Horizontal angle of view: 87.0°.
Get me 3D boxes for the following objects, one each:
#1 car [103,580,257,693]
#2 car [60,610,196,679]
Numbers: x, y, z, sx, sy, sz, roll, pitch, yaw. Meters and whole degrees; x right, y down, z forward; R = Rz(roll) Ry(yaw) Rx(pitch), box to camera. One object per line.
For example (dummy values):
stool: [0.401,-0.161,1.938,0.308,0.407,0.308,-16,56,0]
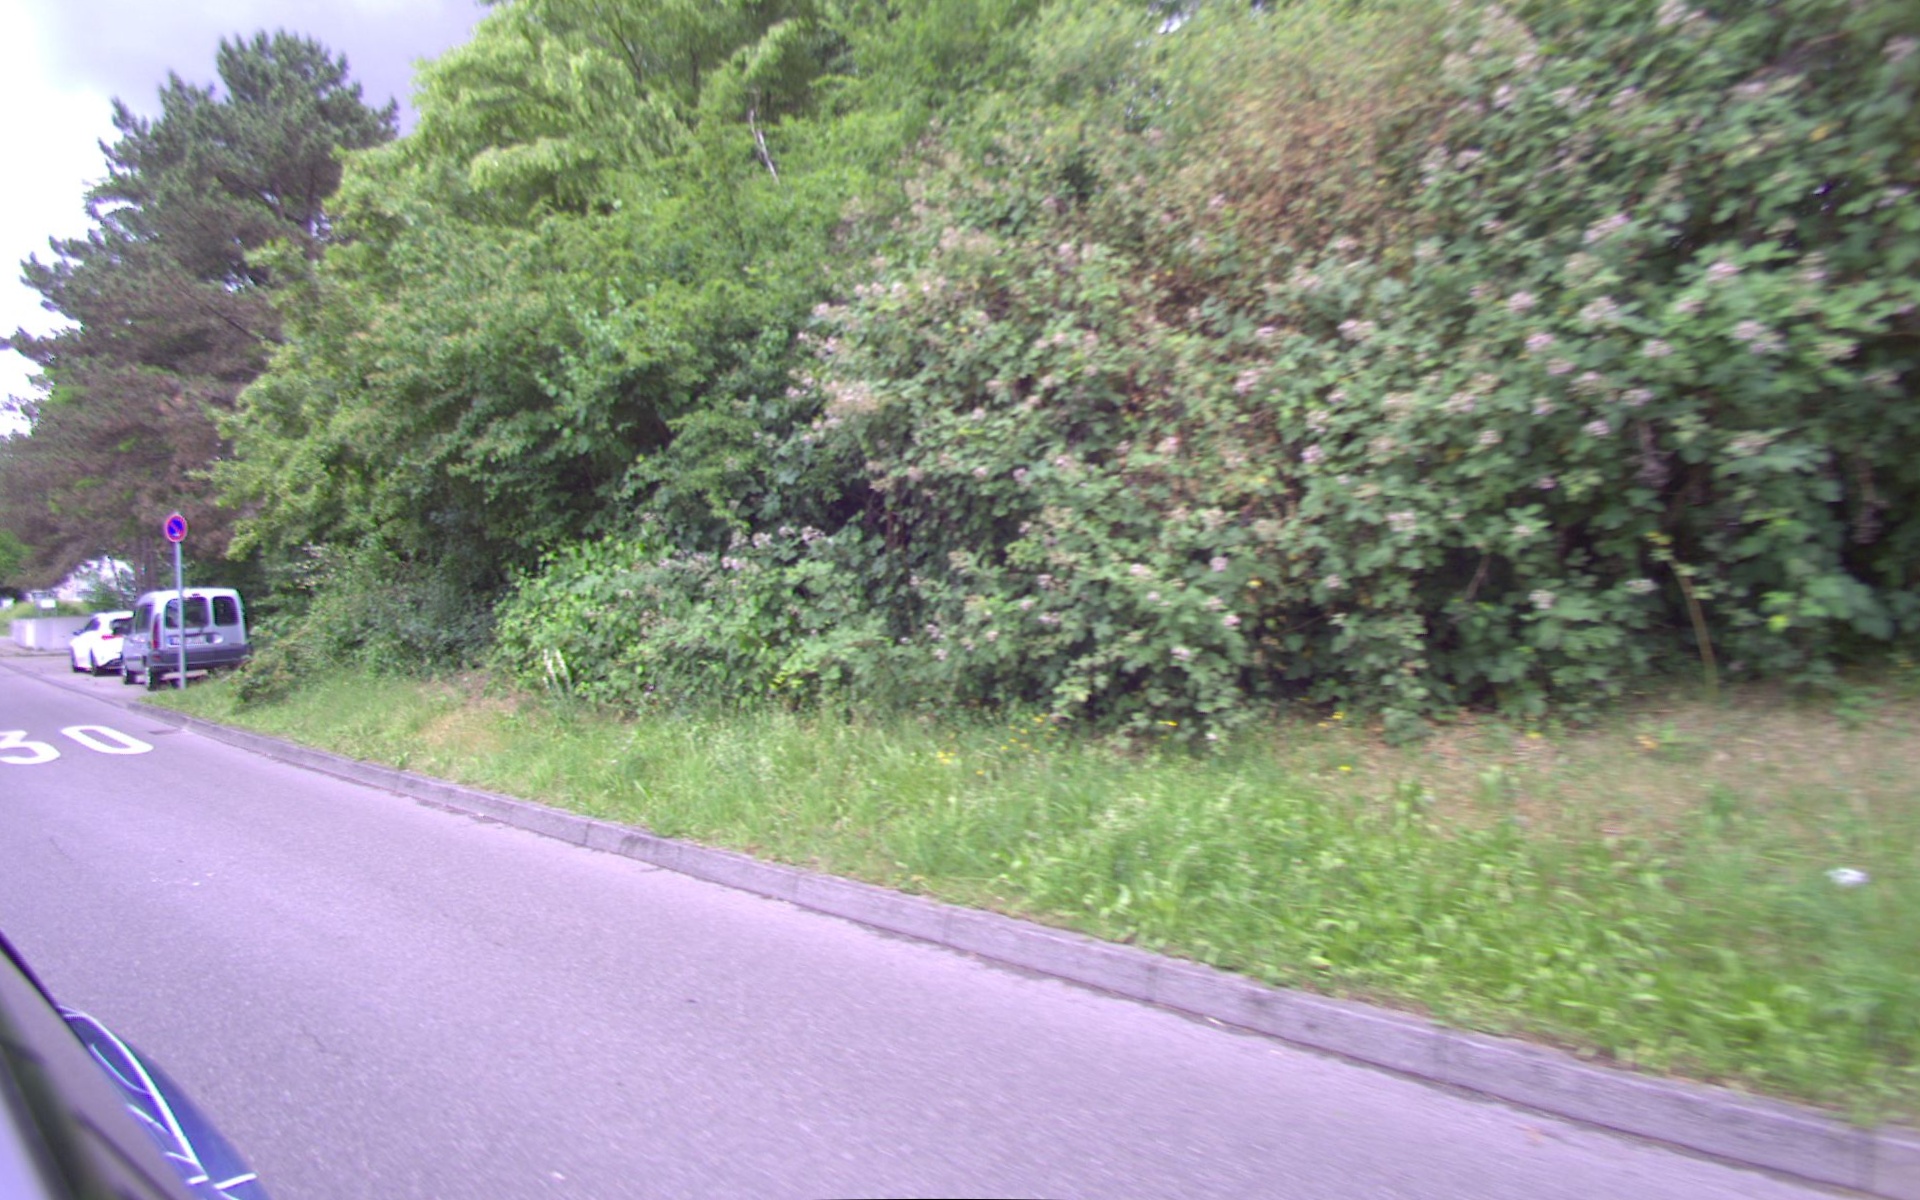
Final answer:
car: [-15.362,0.687,19.858,4.105,1.935,1.702,-2,1,44]
car: [-20.086,1.023,24.371,4.369,1.413,1.787,-2,2,41]
